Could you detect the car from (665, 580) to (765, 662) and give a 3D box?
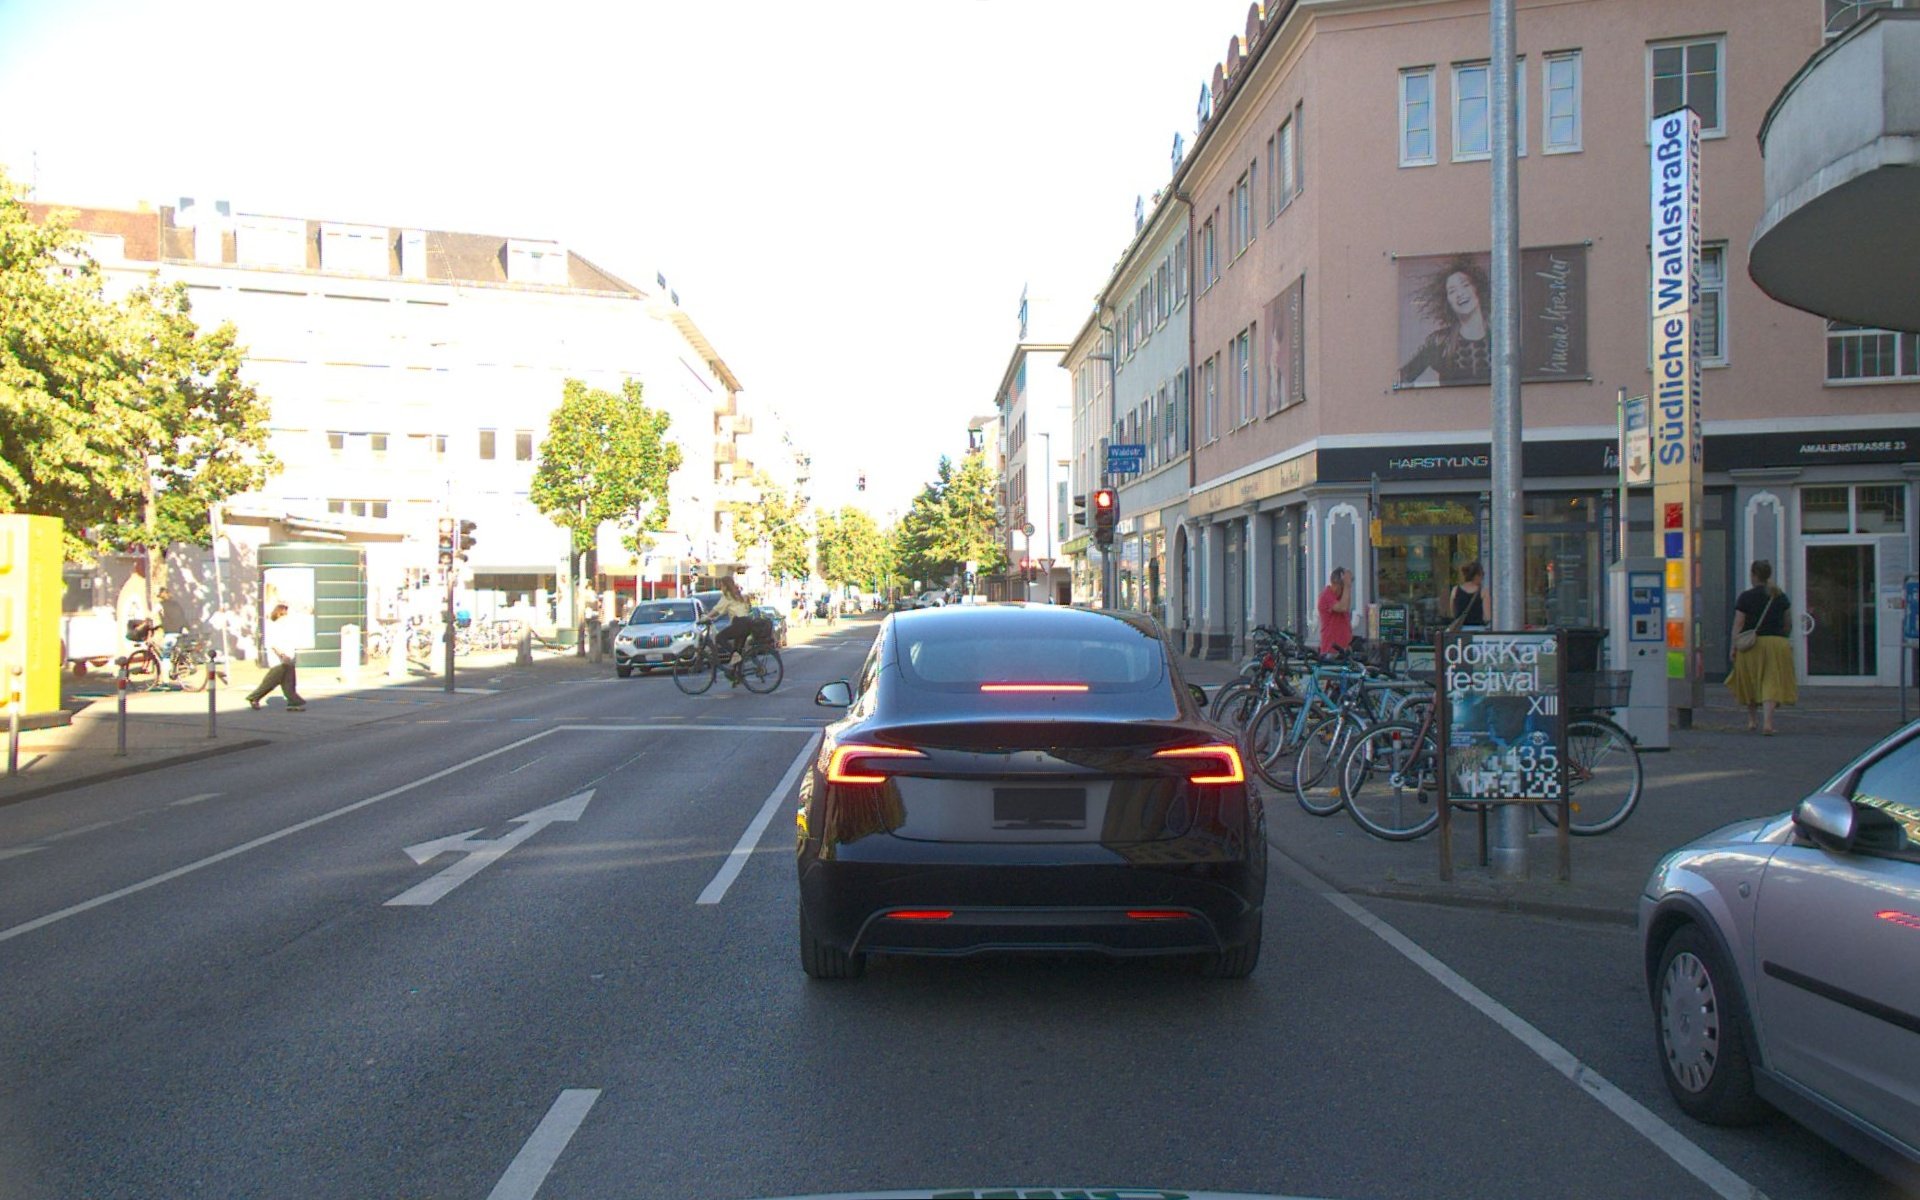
[{"bbox_3d":[-6.233,0.506,42.567,1.906,1.981,4.819,0,0,-1],"label":"car"}]

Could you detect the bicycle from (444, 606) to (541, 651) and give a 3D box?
[{"bbox_3d":[-14.012,0.846,49.645,2.609,1.281,0.942,1,0,-4],"label":"bicycle"}]

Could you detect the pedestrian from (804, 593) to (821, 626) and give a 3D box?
[{"bbox_3d":[-8.626,0.533,96.911,0.686,1.900,0.902,1,-1,-25],"label":"pedestrian"}]

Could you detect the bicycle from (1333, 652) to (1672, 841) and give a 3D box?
[{"bbox_3d":[3.277,0.874,10.093,1.844,1.062,0.653,-1,0,0],"label":"bicycle"}]

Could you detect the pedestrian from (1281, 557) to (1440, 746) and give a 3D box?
[{"bbox_3d":[3.888,0.479,16.079,1.052,1.750,1.096,1,-1,-42],"label":"pedestrian"}]

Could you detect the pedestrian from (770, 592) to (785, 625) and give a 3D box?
[{"bbox_3d":[-10.686,0.497,96.915,0.721,1.900,0.787,1,-1,-17],"label":"pedestrian"}]

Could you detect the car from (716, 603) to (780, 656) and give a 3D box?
[{"bbox_3d":[-6.338,0.854,49.693,1.431,1.455,3.605,-3,0,-1],"label":"car"}]

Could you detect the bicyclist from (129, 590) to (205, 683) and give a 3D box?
[{"bbox_3d":[-13.201,0.596,27.530,0.934,1.510,0.608,1,-1,12],"label":"bicyclist"}]

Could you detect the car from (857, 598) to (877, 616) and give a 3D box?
[{"bbox_3d":[-10.505,0.834,186.968,2.089,2.004,4.133,0,0,-1],"label":"car"}]

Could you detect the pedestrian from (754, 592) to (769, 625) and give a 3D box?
[{"bbox_3d":[-11.628,0.480,96.815,0.721,1.900,0.787,1,-1,-17],"label":"pedestrian"}]

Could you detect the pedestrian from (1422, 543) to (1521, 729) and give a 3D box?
[{"bbox_3d":[5.385,0.374,17.443,0.667,1.882,0.893,-3,-1,1],"label":"pedestrian"}]

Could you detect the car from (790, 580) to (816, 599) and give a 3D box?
[{"bbox_3d":[-17.021,-1.125,179.408,2.228,2.049,4.717,1,0,0],"label":"car"}]

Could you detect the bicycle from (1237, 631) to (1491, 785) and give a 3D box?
[{"bbox_3d":[3.047,0.804,12.569,1.776,1.121,0.653,0,0,0],"label":"bicycle"}]

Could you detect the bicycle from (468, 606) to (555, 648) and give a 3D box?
[{"bbox_3d":[-14.063,0.850,51.919,2.491,1.273,0.942,1,0,-4],"label":"bicycle"}]

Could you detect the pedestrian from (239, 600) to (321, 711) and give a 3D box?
[{"bbox_3d":[-9.802,0.789,23.862,0.904,1.570,0.694,1,-1,-6],"label":"pedestrian"}]

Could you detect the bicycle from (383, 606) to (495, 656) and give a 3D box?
[{"bbox_3d":[-14.126,0.844,44.925,2.725,1.296,0.932,1,0,-4],"label":"bicycle"}]

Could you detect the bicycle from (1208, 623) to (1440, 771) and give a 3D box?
[{"bbox_3d":[2.976,0.783,13.641,1.776,1.172,0.653,0,0,0],"label":"bicycle"}]

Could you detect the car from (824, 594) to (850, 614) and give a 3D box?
[{"bbox_3d":[-12.347,0.400,166.264,2.365,2.004,4.677,0,0,-1],"label":"car"}]

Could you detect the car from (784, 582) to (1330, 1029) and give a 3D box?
[{"bbox_3d":[0.297,0.699,7.774,1.812,1.472,4.450,1,0,-1],"label":"car"}]

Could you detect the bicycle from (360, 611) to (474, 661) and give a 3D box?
[{"bbox_3d":[-13.952,0.925,42.588,2.607,1.216,0.942,1,0,-4],"label":"bicycle"}]

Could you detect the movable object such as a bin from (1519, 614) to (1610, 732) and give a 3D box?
[{"bbox_3d":[6.040,0.722,16.544,0.623,1.122,0.728,-2,0,3],"label":"movable object such as a bin"}]

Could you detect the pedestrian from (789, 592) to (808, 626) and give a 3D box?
[{"bbox_3d":[-9.197,0.512,94.340,0.719,1.900,0.790,1,-1,28],"label":"pedestrian"}]

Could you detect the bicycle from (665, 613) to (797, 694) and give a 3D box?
[{"bbox_3d":[-3.546,0.826,25.654,1.912,1.178,0.576,-2,-1,9],"label":"bicycle"}]

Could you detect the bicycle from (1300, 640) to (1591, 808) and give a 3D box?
[{"bbox_3d":[3.248,0.821,11.165,1.776,1.078,0.653,0,0,0],"label":"bicycle"}]

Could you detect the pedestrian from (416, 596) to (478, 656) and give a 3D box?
[{"bbox_3d":[-14.389,0.719,46.405,1.071,1.639,1.265,1,-1,25],"label":"pedestrian"}]

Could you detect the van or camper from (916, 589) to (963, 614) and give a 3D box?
[{"bbox_3d":[-2.071,0.176,167.522,4.752,2.481,1.850,0,0,-1],"label":"van or camper"}]

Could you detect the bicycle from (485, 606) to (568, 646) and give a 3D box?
[{"bbox_3d":[-14.229,0.858,54.341,2.491,1.273,0.942,1,0,-4],"label":"bicycle"}]

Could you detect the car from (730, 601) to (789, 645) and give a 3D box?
[{"bbox_3d":[-6.827,0.765,56.637,1.660,1.414,3.914,-1,0,-3],"label":"car"}]

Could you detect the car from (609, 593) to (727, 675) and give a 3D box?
[{"bbox_3d":[-6.325,0.711,36.239,1.788,1.592,4.299,-3,0,-1],"label":"car"}]

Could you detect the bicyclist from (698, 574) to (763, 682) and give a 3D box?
[{"bbox_3d":[-3.559,0.429,25.647,0.808,1.642,0.580,-2,0,9],"label":"bicyclist"}]

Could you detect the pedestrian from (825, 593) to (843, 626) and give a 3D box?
[{"bbox_3d":[-7.251,0.551,95.491,0.763,1.900,1.002,1,-1,-21],"label":"pedestrian"}]

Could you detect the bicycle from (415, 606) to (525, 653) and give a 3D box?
[{"bbox_3d":[-14.002,0.831,47.326,2.818,1.292,0.942,1,0,-4],"label":"bicycle"}]

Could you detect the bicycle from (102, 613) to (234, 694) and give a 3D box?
[{"bbox_3d":[-13.178,0.889,27.523,1.951,1.244,0.630,2,-2,12],"label":"bicycle"}]

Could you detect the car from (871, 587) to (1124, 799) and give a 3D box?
[{"bbox_3d":[0.241,0.685,14.198,1.812,1.507,4.450,1,0,-1],"label":"car"}]

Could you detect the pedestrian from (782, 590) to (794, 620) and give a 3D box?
[{"bbox_3d":[-10.769,0.315,103.716,0.681,1.900,0.658,1,-1,-6],"label":"pedestrian"}]

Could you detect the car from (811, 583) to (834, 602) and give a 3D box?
[{"bbox_3d":[-15.604,-0.812,188.064,2.228,2.049,4.717,1,0,0],"label":"car"}]

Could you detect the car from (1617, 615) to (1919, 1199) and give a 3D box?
[{"bbox_3d":[2.919,0.780,3.539,1.551,1.451,3.579,1,0,-1],"label":"car"}]

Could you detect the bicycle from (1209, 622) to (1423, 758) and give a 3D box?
[{"bbox_3d":[3.160,0.791,14.779,1.776,1.172,0.653,0,0,0],"label":"bicycle"}]

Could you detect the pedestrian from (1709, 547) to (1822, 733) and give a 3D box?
[{"bbox_3d":[8.044,0.394,16.550,0.706,1.785,0.788,-2,-1,5],"label":"pedestrian"}]

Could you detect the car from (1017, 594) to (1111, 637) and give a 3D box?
[{"bbox_3d":[4.710,0.705,74.743,3.937,1.900,1.686,0,0,-22],"label":"car"}]
